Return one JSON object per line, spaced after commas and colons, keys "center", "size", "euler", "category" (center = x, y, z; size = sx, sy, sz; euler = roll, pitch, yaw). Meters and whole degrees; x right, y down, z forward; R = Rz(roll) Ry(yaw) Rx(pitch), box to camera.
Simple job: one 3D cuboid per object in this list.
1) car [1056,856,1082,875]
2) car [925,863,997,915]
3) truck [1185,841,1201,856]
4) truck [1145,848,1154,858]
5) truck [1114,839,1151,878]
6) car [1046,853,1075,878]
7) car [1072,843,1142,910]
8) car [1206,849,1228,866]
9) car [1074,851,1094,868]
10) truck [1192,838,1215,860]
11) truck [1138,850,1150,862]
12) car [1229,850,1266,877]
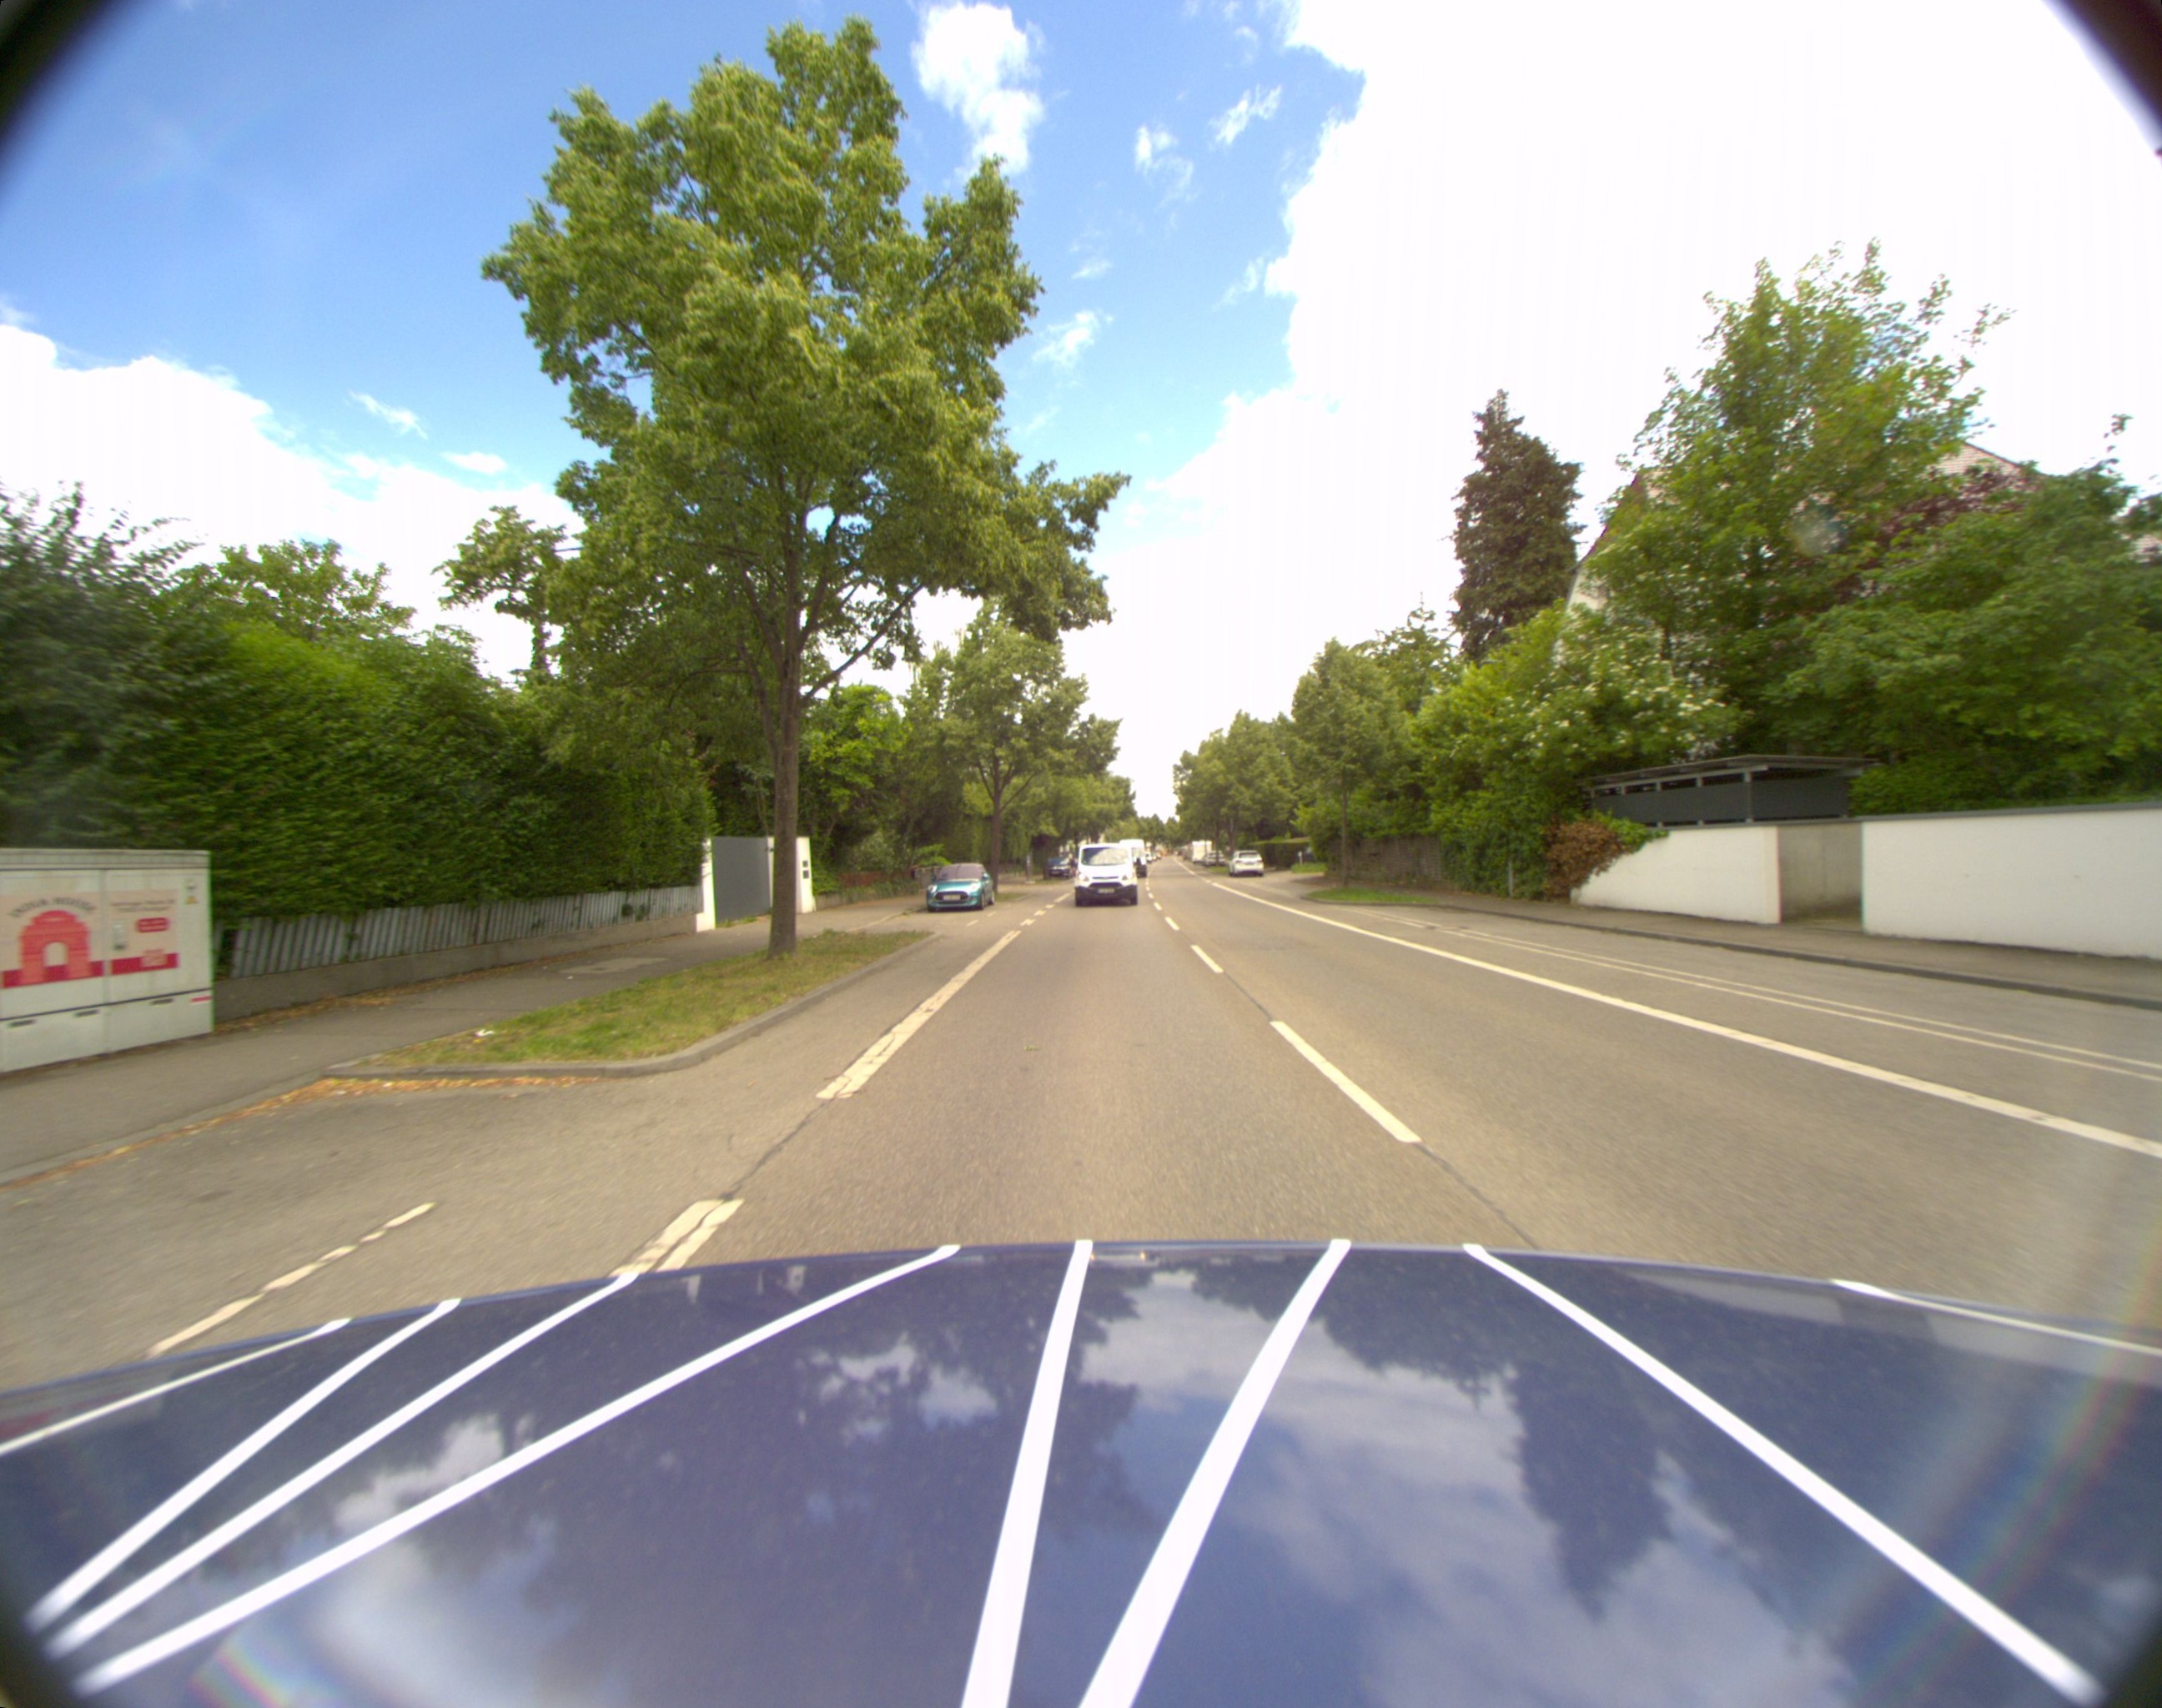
{"center": [-0.899, 0.862, 59.337], "size": [1.740, 1.389, 3.705], "euler": [-2, 0, 2], "category": "car"}
{"center": [-3.735, 1.056, 24.207], "size": [1.667, 1.398, 3.657], "euler": [-2, 1, 0], "category": "car"}
{"center": [20.118, -0.941, 136.655], "size": [1.999, 2.530, 4.498], "euler": [-2, 1, -1], "category": "truck"}
{"center": [12.431, -0.162, 138.359], "size": [1.618, 1.649, 4.001], "euler": [-1, 0, 4], "category": "truck"}
{"center": [3.540, 0.289, 53.110], "size": [2.036, 2.555, 6.057], "euler": [-1, 0, 0], "category": "truck"}
{"center": [-1.391, 0.782, 53.447], "size": [1.776, 1.588, 3.815], "euler": [-2, 0, 2], "category": "car"}
{"center": [0.929, 0.656, 25.675], "size": [2.075, 1.956, 5.558], "euler": [-1, 1, 3], "category": "car"}
{"center": [13.473, 0.333, 75.639], "size": [1.889, 1.606, 4.002], "euler": [-2, 0, 7], "category": "car"}
{"center": [0.327, 0.475, 71.759], "size": [1.747, 1.507, 4.000], "euler": [-2, 0, 2], "category": "car"}
{"center": [16.268, -0.677, 101.222], "size": [2.640, 2.757, 6.259], "euler": [-2, 1, 5], "category": "truck"}
{"center": [9.356, 0.291, 113.084], "size": [1.614, 1.780, 4.001], "euler": [-1, 0, 4], "category": "truck"}
{"center": [10.571, 0.569, 48.449], "size": [1.916, 1.643, 4.002], "euler": [-2, 0, 7], "category": "car"}
